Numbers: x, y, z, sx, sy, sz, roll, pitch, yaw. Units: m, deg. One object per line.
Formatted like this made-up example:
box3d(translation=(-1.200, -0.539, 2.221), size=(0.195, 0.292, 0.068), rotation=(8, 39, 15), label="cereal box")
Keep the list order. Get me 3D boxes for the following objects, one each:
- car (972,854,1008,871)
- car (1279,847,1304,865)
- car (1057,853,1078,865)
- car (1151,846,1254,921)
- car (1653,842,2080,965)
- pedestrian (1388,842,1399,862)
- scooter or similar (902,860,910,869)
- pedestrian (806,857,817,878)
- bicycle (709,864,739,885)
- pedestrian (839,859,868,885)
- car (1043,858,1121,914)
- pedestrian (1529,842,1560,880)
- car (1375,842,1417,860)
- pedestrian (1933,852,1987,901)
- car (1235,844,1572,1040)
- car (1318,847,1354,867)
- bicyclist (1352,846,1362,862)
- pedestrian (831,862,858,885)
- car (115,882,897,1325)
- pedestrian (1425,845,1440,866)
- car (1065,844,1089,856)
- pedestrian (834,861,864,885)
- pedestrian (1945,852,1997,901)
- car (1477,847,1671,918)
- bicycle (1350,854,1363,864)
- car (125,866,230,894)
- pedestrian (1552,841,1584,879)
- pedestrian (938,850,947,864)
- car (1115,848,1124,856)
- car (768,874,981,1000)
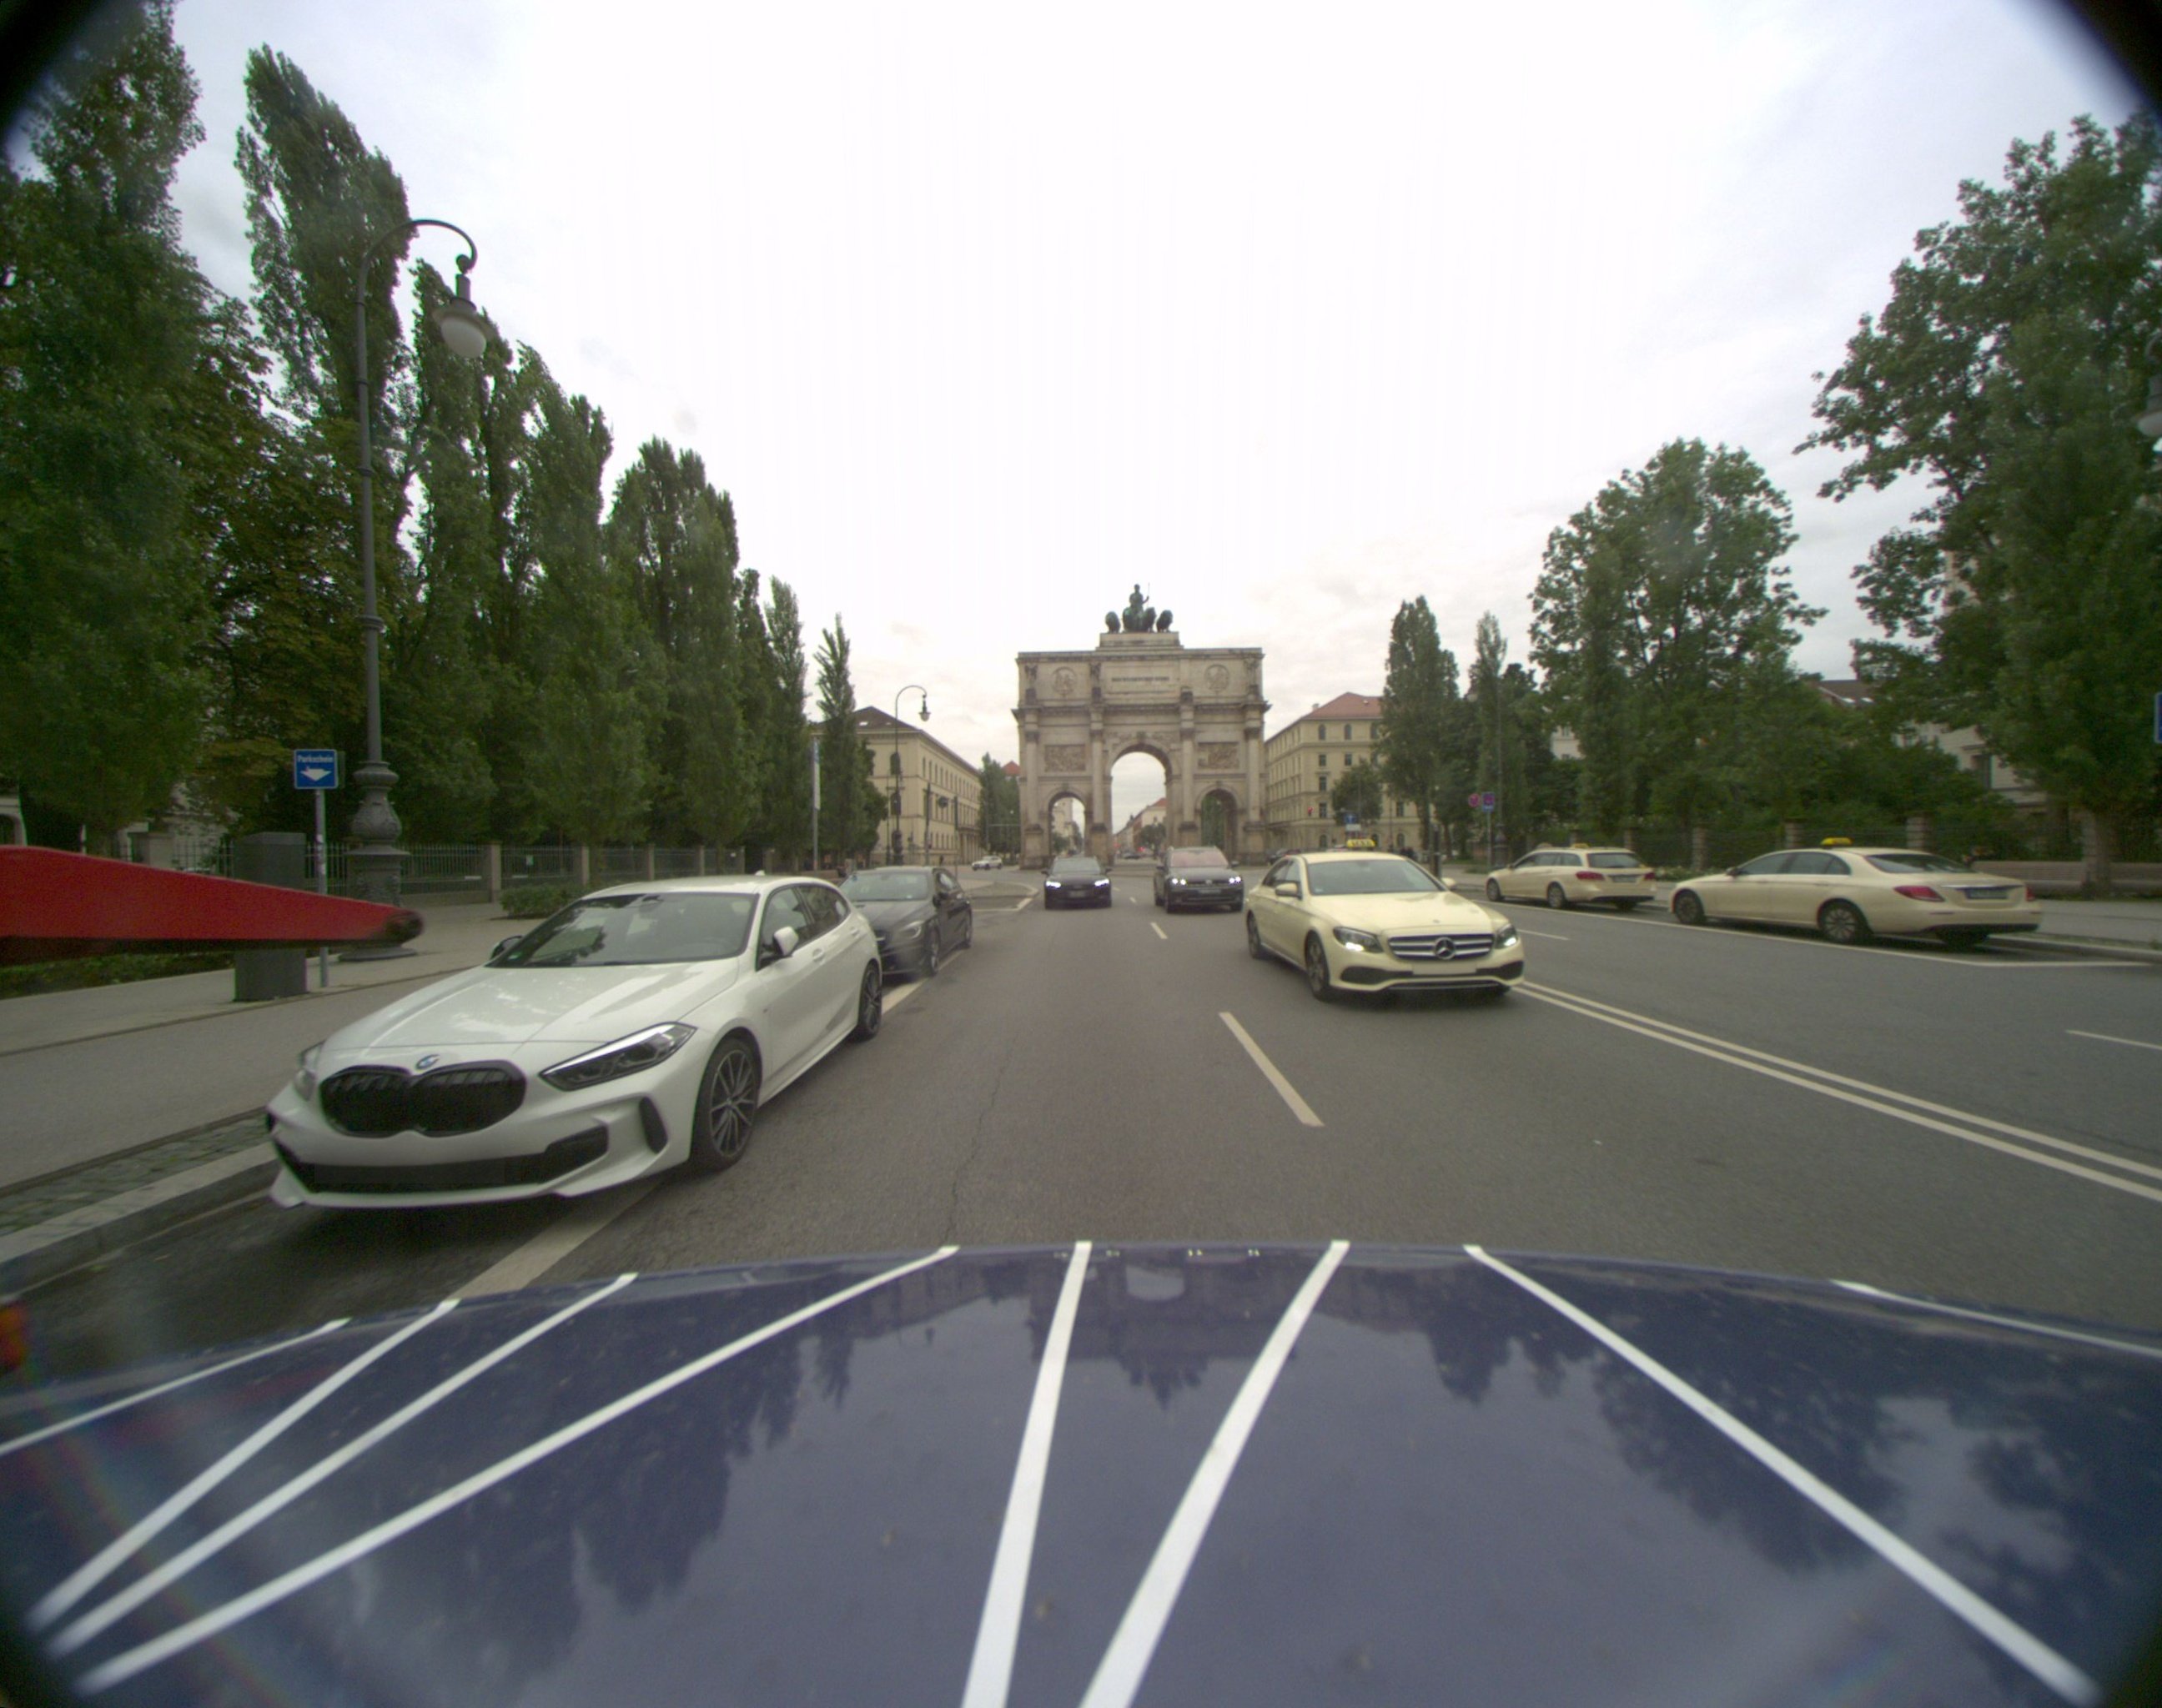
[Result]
box3d(translation=(-10.619, 1.030, 88.886), size=(1.886, 1.846, 4.321), rotation=(-1, 1, 31), label="car")
box3d(translation=(21.201, 0.190, 76.788), size=(1.785, 1.662, 4.001), rotation=(-1, 0, 6), label="car")
box3d(translation=(-1.978, 0.677, 111.533), size=(1.785, 1.739, 4.326), rotation=(-1, 0, 17), label="car")
box3d(translation=(2.979, 0.656, 19.494), size=(1.953, 1.615, 4.411), rotation=(-3, 1, 1), label="car")
box3d(translation=(12.276, 0.621, 12.559), size=(1.942, 1.615, 4.964), rotation=(0, 1, 1), label="car")
box3d(translation=(31.271, -0.234, 76.008), size=(0.796, 2.002, 0.754), rotation=(-1, 1, -34), label="pedestrian")
box3d(translation=(-22.819, 1.373, 99.285), size=(0.567, 1.135, 1.657), rotation=(-1, 0, 3), label="scooter or similar")
box3d(translation=(-21.462, 1.048, 60.486), size=(0.591, 1.610, 0.536), rotation=(-2, 1, 1), label="pedestrian")
box3d(translation=(-22.443, 1.246, 47.827), size=(0.674, 1.232, 2.998), rotation=(0, 0, -5), label="bicycle")
box3d(translation=(-11.799, 0.927, 39.401), size=(1.331, 1.267, 0.807), rotation=(-2, 1, -21), label="pedestrian")
box3d(translation=(-0.075, 0.857, 22.299), size=(1.923, 1.320, 4.409), rotation=(-3, 1, -4), label="car")
box3d(translation=(21.007, 0.307, 34.452), size=(0.846, 1.668, 0.967), rotation=(-1, 1, 7), label="pedestrian")
box3d(translation=(36.353, -0.371, 87.829), size=(3.997, 2.002, 2.000), rotation=(-1, 0, 1), label="car")
box3d(translation=(24.329, 0.616, 21.035), size=(0.578, 1.329, 0.838), rotation=(-1, 1, -25), label="pedestrian")
box3d(translation=(3.186, 0.719, 8.737), size=(1.919, 1.566, 4.689), rotation=(-3, 1, 1), label="car")
box3d(translation=(24.825, 0.236, 74.140), size=(2.003, 1.844, 4.990), rotation=(0, 1, 3), label="car")
box3d(translation=(29.629, -0.001, 81.523), size=(0.643, 1.700, 0.859), rotation=(-1, 1, -5), label="bicyclist")
box3d(translation=(-12.747, 1.036, 40.989), size=(1.268, 1.209, 0.574), rotation=(-2, 1, -29), label="pedestrian")
box3d(translation=(-2.668, 1.017, 4.956), size=(1.792, 1.451, 4.217), rotation=(-2, 0, 1), label="car")
box3d(translation=(30.393, 0.110, 65.694), size=(0.917, 1.775, 0.752), rotation=(-1, 1, -36), label="pedestrian")
box3d(translation=(-0.579, -0.556, 106.583), size=(1.784, 1.739, 4.327), rotation=(-1, 0, 23), label="car")
box3d(translation=(-12.344, 1.003, 40.399), size=(1.372, 1.200, 0.806), rotation=(-2, 1, -28), label="pedestrian")
box3d(translation=(24.924, 0.619, 21.289), size=(0.578, 1.329, 0.838), rotation=(-1, 1, -26), label="pedestrian")
box3d(translation=(12.326, 0.625, 19.468), size=(1.823, 1.550, 4.858), rotation=(1, 1, 1), label="car")
box3d(translation=(29.633, 0.535, 81.653), size=(0.643, 0.968, 1.761), rotation=(-1, 0, -5), label="bicycle")
box3d(translation=(-56.617, 1.588, 47.669), size=(4.464, 1.565, 2.001), rotation=(-2, 1, 6), label="car")
box3d(translation=(21.829, 0.285, 34.080), size=(0.846, 1.668, 0.967), rotation=(-1, 1, 7), label="pedestrian")
box3d(translation=(-20.296, 0.430, 111.401), size=(0.944, 2.002, 1.003), rotation=(-1, 1, 2), label="pedestrian")
box3d(translation=(10.203, -0.638, 201.418), size=(1.998, 2.002, 4.394), rotation=(-1, 0, 1), label="car")
box3d(translation=(-2.682, 1.022, 10.991), size=(1.739, 1.302, 4.370), rotation=(-1, 0, 2), label="car")
